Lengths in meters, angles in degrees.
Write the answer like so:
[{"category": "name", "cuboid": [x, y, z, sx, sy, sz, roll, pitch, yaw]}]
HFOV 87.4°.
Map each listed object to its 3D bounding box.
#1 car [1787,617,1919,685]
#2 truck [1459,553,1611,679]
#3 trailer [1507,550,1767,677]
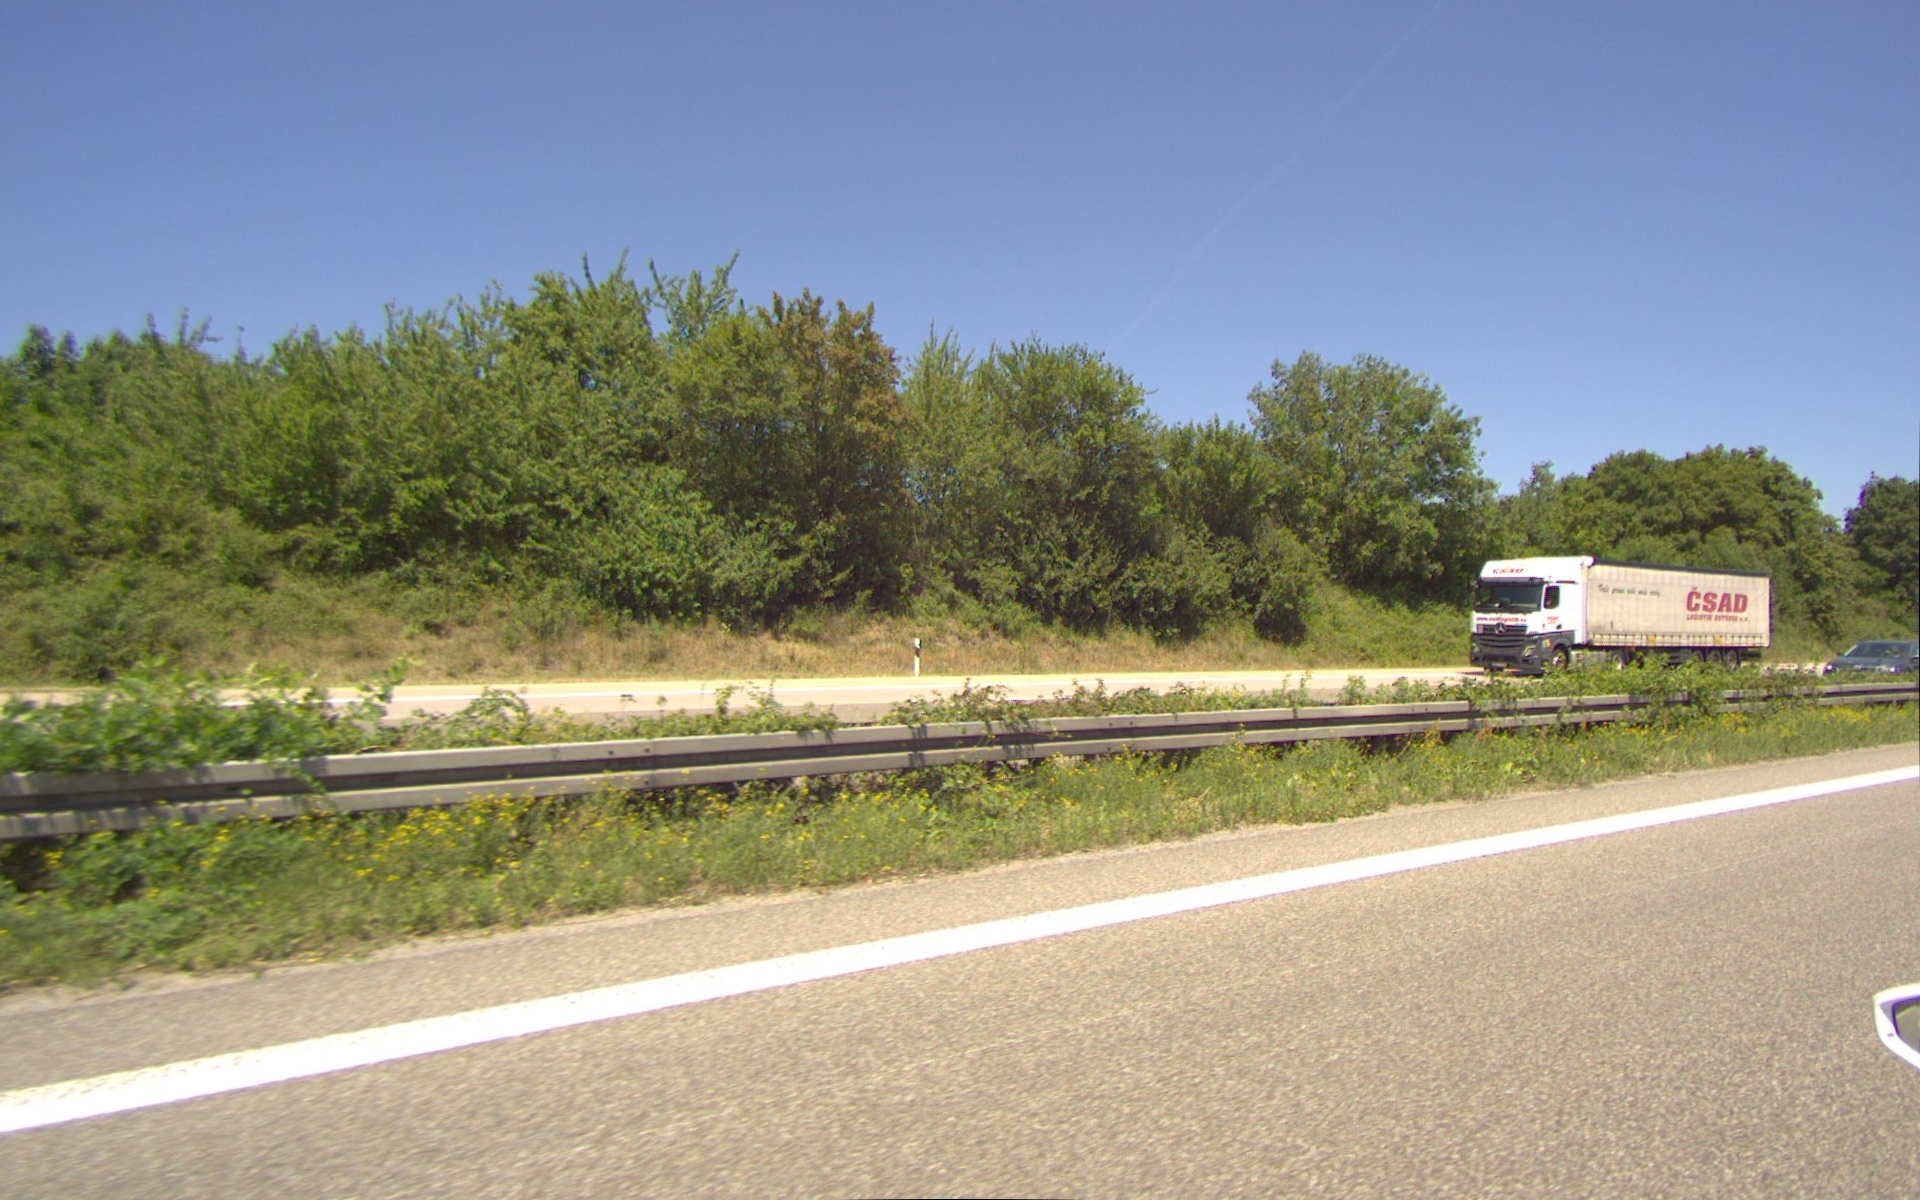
[{"category": "car", "cuboid": [27.169, 1.523, 30.221, 4.899, 1.886, 1.984, 2, -3, -31]}, {"category": "truck", "cuboid": [19.643, 0.598, 34.335, 4.391, 4.017, 2.689, 2, -2, -30]}, {"category": "trailer", "cuboid": [25.970, 0.661, 38.090, 13.401, 4.239, 2.693, 2, -2, -31]}]
